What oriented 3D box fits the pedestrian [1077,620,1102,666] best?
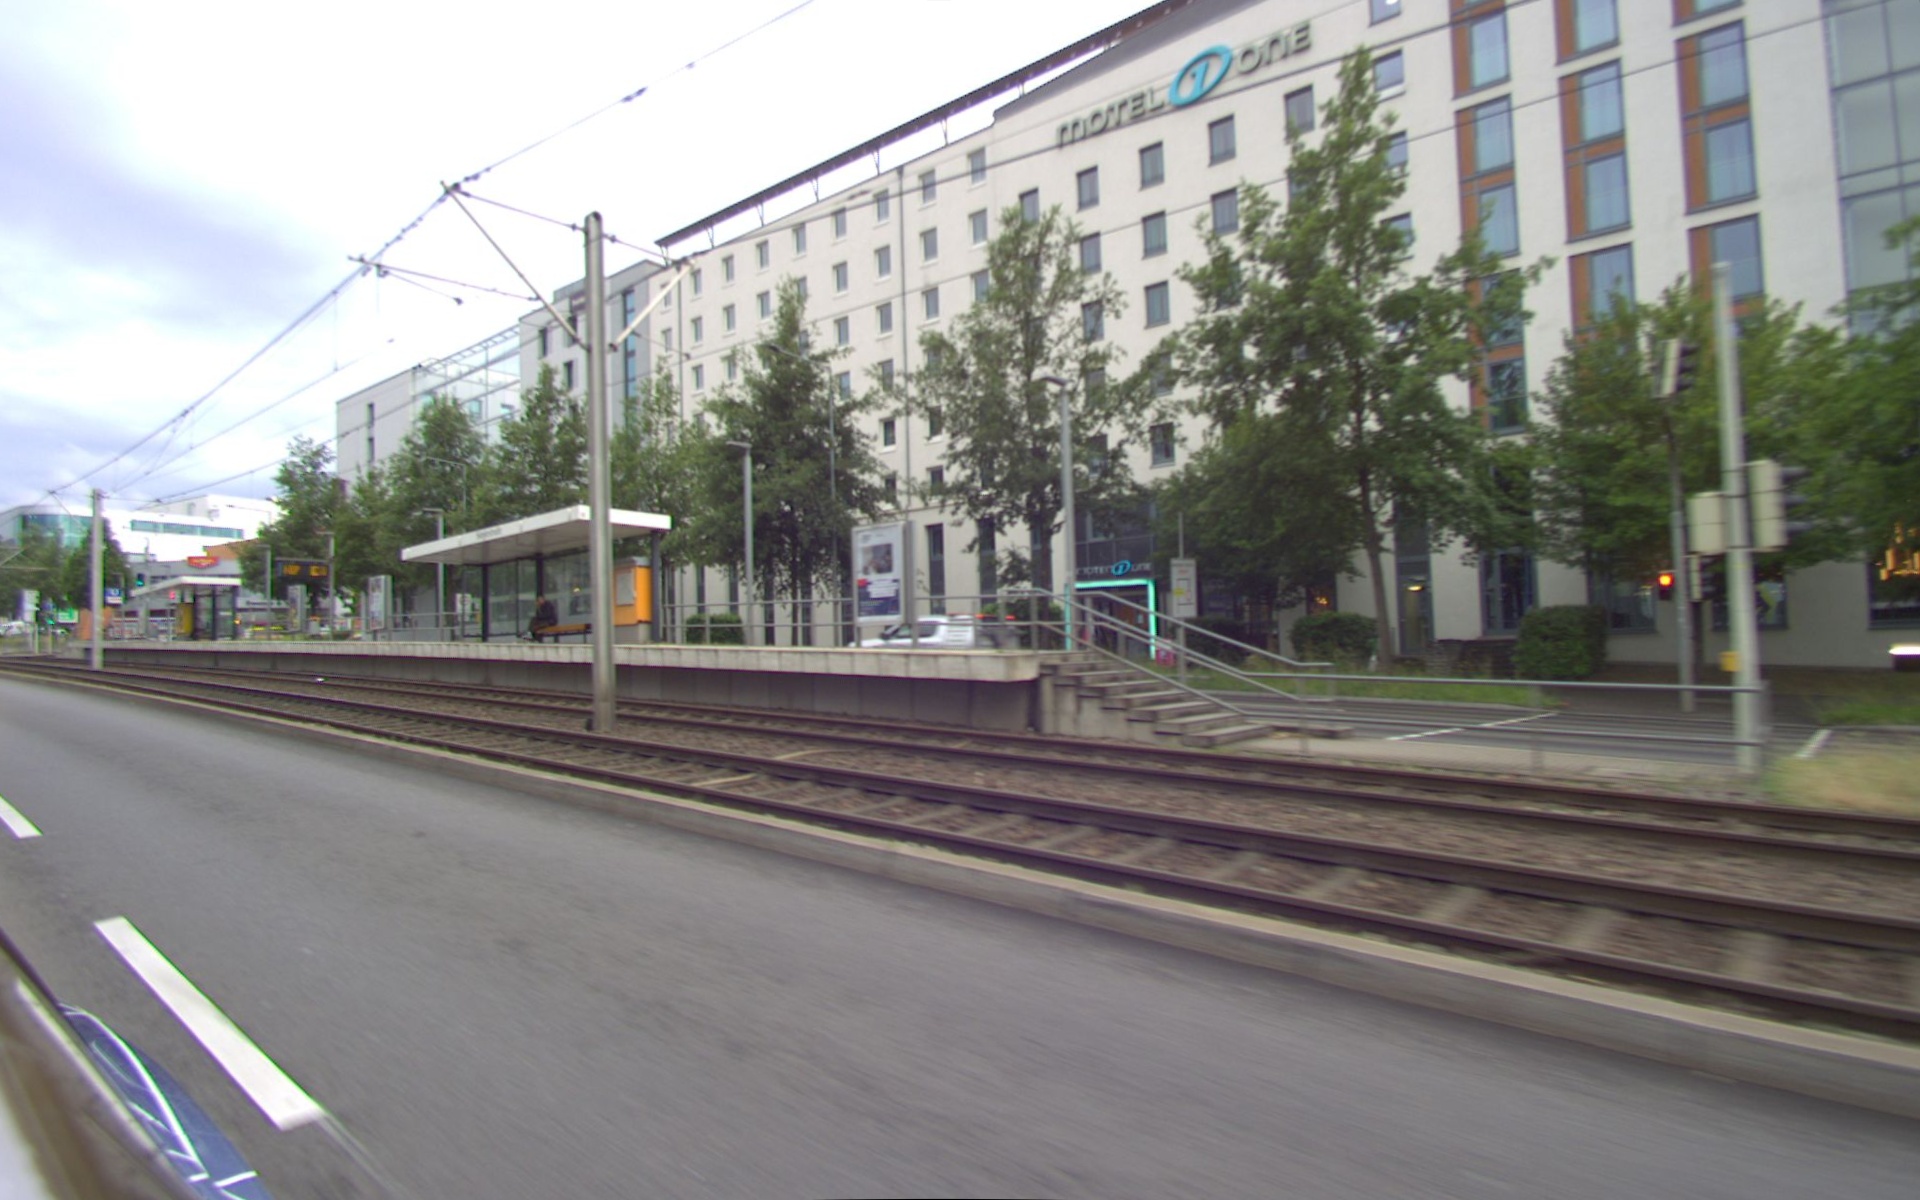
[{"bbox_3d":[4.636,1.533,36.249,0.826,1.589,0.600,-1,0,10],"label":"pedestrian"}]

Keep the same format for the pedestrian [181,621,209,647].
[{"bbox_3d":[-38.453,1.693,50.869,0.683,1.310,0.952,-2,-2,38],"label":"pedestrian"}]

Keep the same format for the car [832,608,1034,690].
[{"bbox_3d":[-0.758,1.206,25.216,4.998,1.861,1.973,-2,-3,41],"label":"car"}]

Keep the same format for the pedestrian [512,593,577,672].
[{"bbox_3d":[-10.993,0.835,26.763,1.270,2.029,1.115,-1,0,41],"label":"pedestrian"}]

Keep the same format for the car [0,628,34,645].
[{"bbox_3d":[-151.443,5.810,161.256,2.261,2.648,5.449,-1,0,19],"label":"car"}]
